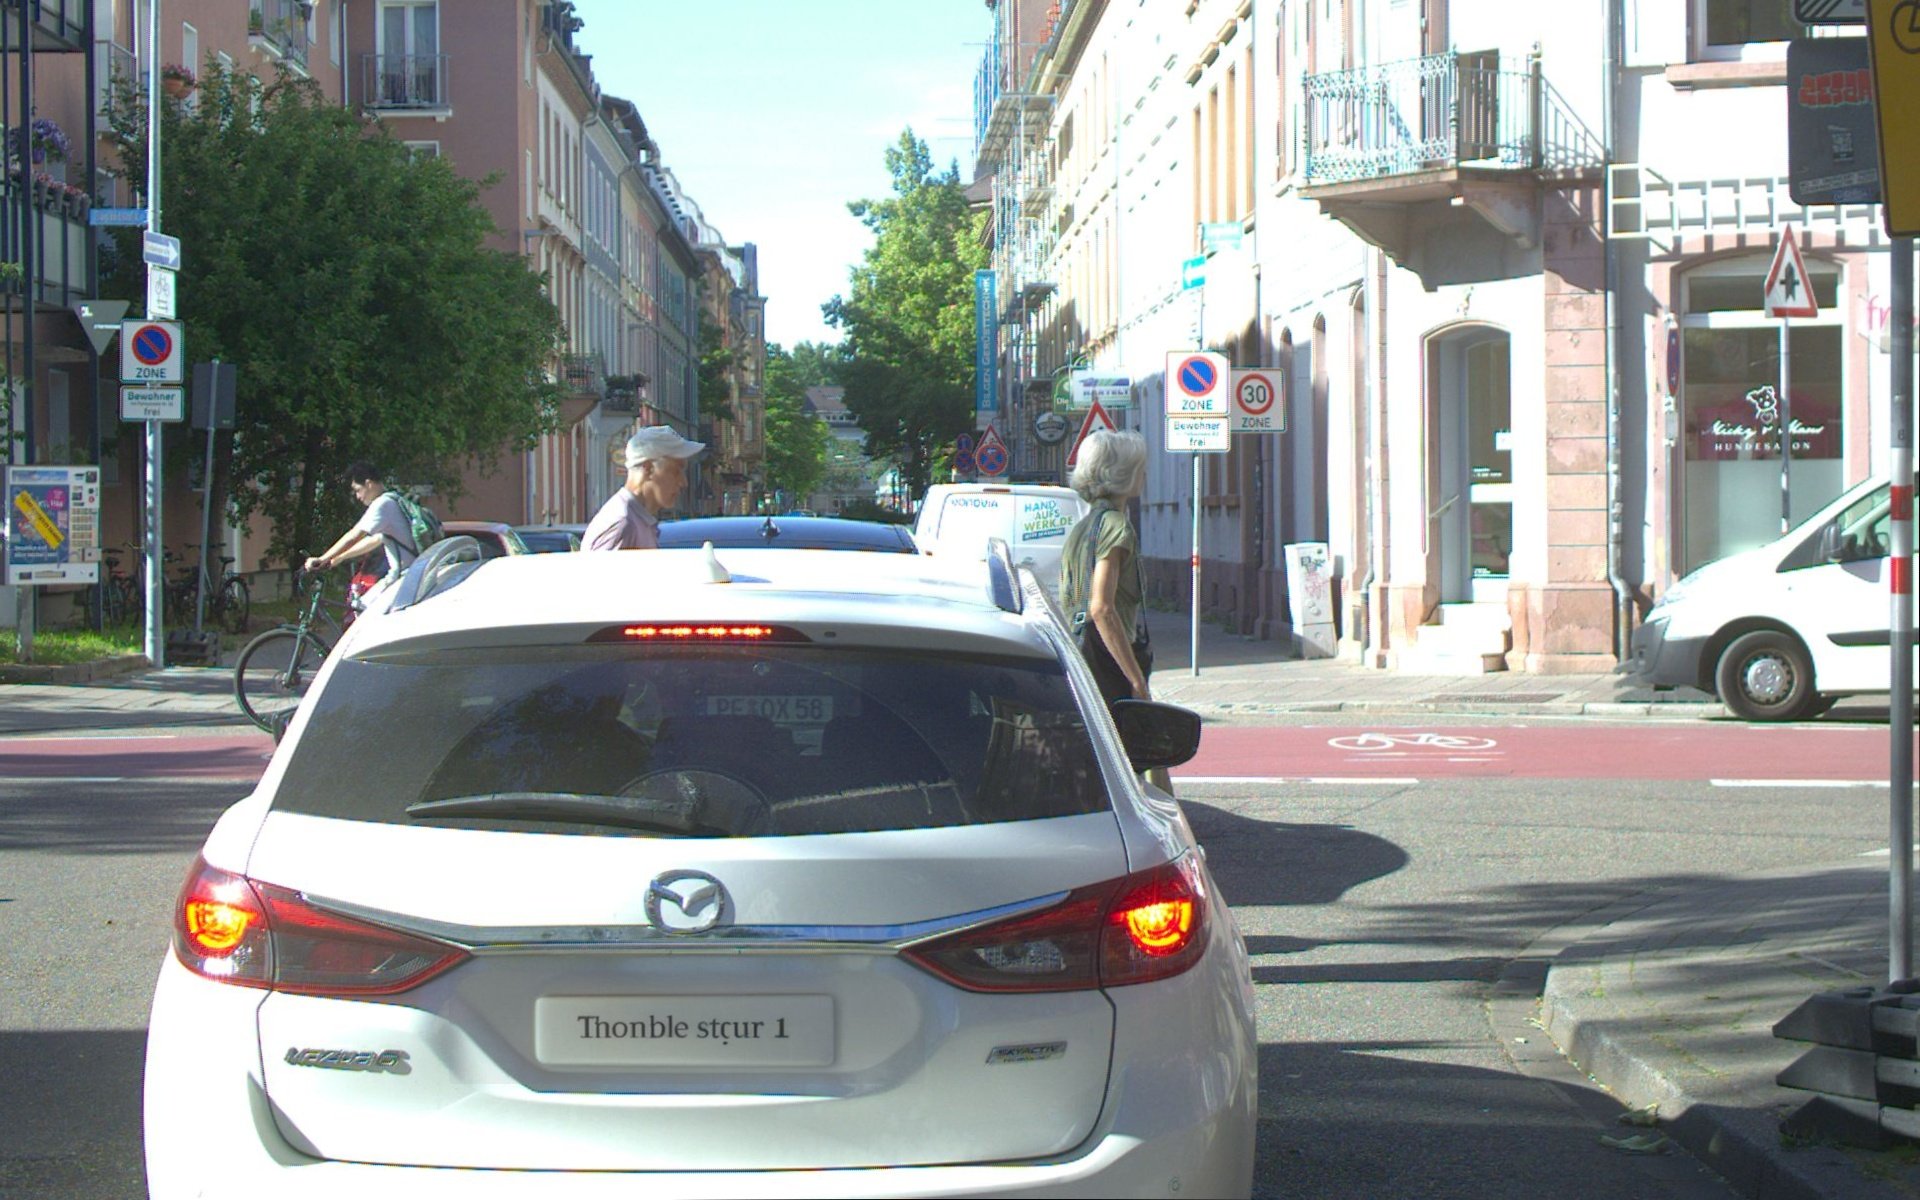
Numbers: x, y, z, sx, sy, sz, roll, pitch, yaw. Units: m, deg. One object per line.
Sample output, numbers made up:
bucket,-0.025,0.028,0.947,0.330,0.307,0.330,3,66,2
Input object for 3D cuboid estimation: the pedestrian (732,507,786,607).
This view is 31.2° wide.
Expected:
pedestrian,-3.307,-0.712,56.531,0.733,1.608,0.816,-1,1,-13

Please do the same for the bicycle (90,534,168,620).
bicycle,-10.469,-0.295,43.278,1.215,1.068,0.253,1,2,38

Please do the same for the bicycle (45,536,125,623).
bicycle,-10.886,-0.264,42.749,1.215,1.068,0.265,1,2,38

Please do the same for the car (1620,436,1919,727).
car,7.234,-0.143,23.616,5.015,1.939,2.049,0,1,22

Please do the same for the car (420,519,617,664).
car,-4.761,-0.134,37.554,1.653,1.495,4.080,0,1,-1

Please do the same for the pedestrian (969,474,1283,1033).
pedestrian,0.512,0.471,10.898,0.836,1.661,0.626,-4,0,0

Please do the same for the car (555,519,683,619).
car,-5.265,-0.514,53.460,1.653,1.495,3.763,0,1,-1

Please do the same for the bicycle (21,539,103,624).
bicycle,-11.107,-0.239,42.514,1.215,1.032,0.290,1,2,38

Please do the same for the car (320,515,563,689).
car,-4.679,-0.027,31.483,1.685,1.495,3.807,0,1,-1

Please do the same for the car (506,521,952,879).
car,-0.936,0.348,15.794,1.760,1.405,4.328,0,1,-1

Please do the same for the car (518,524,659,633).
car,-5.294,-0.337,49.365,1.653,1.495,3.763,0,1,-1

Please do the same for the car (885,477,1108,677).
car,0.295,-0.282,35.264,1.894,1.853,5.015,2,1,-3

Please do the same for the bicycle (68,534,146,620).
bicycle,-10.681,-0.294,43.024,1.215,1.067,0.253,1,2,38

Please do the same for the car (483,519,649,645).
car,-4.855,-0.261,42.754,1.653,1.495,3.763,0,1,-1

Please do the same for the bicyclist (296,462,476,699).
bicyclist,-3.735,-0.133,22.439,1.042,1.514,0.739,0,1,-1

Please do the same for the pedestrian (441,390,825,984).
pedestrian,-1.049,0.261,11.259,0.750,1.758,0.831,-13,1,5

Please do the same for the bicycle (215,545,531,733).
bicycle,-3.817,0.247,22.452,1.947,1.193,0.630,0,1,-1

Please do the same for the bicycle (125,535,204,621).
bicycle,-10.023,-0.281,43.297,1.218,1.068,0.253,1,2,38

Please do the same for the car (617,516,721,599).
car,-5.396,-0.807,64.065,1.653,1.495,3.763,0,1,-1

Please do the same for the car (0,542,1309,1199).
car,-0.454,0.634,6.749,1.831,1.452,3.963,0,1,-1
